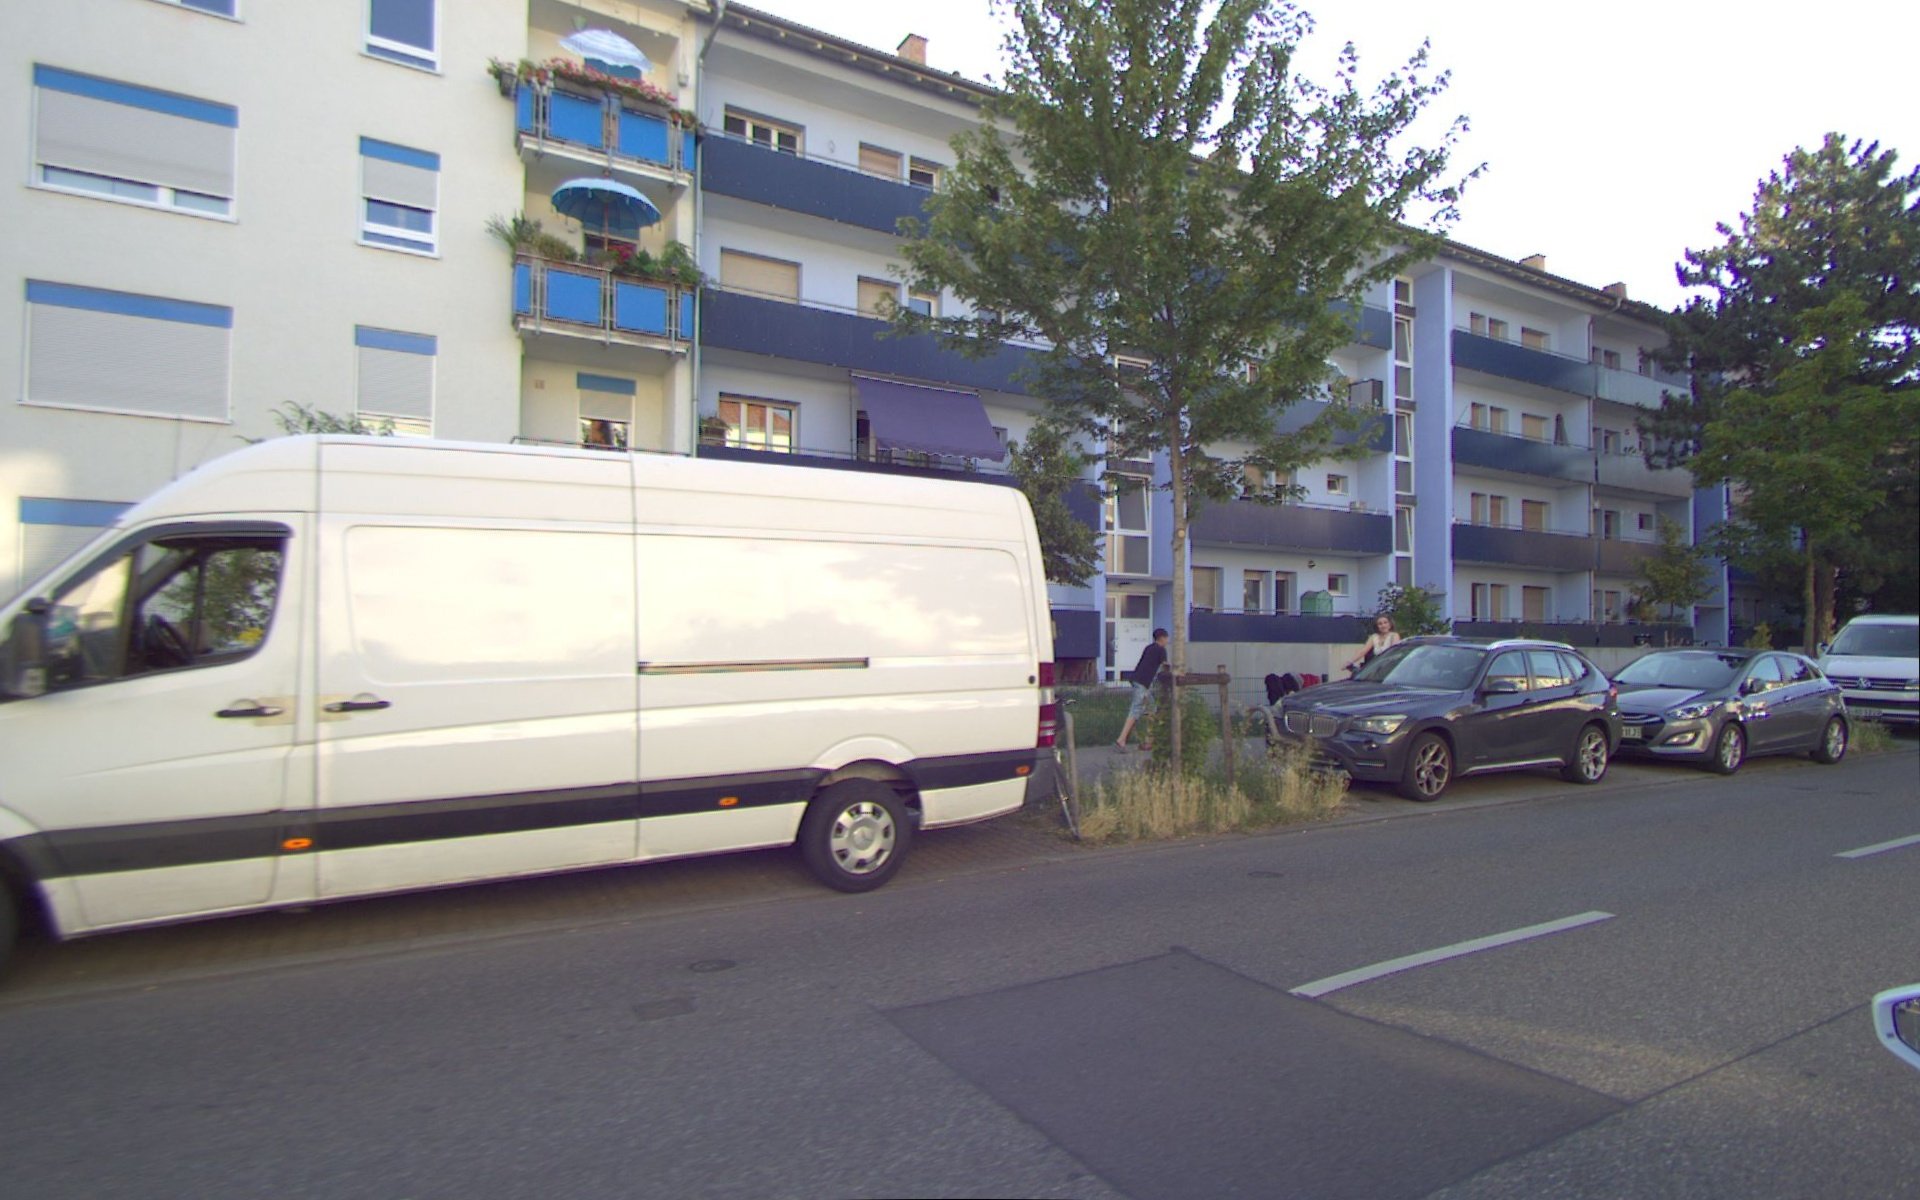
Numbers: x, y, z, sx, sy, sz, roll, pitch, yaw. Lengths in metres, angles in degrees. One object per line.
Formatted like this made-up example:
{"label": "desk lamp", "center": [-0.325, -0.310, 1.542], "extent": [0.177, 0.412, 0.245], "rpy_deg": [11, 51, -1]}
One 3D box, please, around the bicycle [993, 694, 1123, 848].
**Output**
{"label": "bicycle", "center": [0.763, 1.339, 8.205], "extent": [0.433, 1.028, 1.469], "rpy_deg": [1, -1, -22]}

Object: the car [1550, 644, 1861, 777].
{"label": "car", "center": [9.828, 1.345, 13.200], "extent": [4.091, 1.503, 1.686], "rpy_deg": [1, -2, -28]}

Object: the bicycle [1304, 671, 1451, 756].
{"label": "bicycle", "center": [5.522, 1.469, 13.275], "extent": [1.924, 1.028, 0.619], "rpy_deg": [1, -2, -23]}

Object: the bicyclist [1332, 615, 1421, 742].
{"label": "bicyclist", "center": [5.504, 1.019, 13.286], "extent": [0.926, 1.614, 0.602], "rpy_deg": [1, -2, -22]}

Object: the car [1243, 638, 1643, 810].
{"label": "car", "center": [5.328, 1.205, 10.952], "extent": [4.417, 1.563, 1.665], "rpy_deg": [1, -2, -28]}

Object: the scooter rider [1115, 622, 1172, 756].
{"label": "scooter rider", "center": [2.326, 1.118, 12.754], "extent": [0.527, 1.652, 0.462], "rpy_deg": [1, -2, -26]}

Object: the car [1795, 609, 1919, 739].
{"label": "car", "center": [17.101, 1.239, 17.841], "extent": [5.239, 2.058, 1.860], "rpy_deg": [1, -1, -31]}

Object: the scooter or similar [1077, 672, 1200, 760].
{"label": "scooter or similar", "center": [2.266, 1.440, 12.703], "extent": [1.568, 1.028, 0.462], "rpy_deg": [1, -2, -26]}

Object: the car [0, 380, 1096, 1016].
{"label": "car", "center": [-2.572, 0.466, 6.166], "extent": [7.021, 2.651, 1.984], "rpy_deg": [1, -1, -30]}
